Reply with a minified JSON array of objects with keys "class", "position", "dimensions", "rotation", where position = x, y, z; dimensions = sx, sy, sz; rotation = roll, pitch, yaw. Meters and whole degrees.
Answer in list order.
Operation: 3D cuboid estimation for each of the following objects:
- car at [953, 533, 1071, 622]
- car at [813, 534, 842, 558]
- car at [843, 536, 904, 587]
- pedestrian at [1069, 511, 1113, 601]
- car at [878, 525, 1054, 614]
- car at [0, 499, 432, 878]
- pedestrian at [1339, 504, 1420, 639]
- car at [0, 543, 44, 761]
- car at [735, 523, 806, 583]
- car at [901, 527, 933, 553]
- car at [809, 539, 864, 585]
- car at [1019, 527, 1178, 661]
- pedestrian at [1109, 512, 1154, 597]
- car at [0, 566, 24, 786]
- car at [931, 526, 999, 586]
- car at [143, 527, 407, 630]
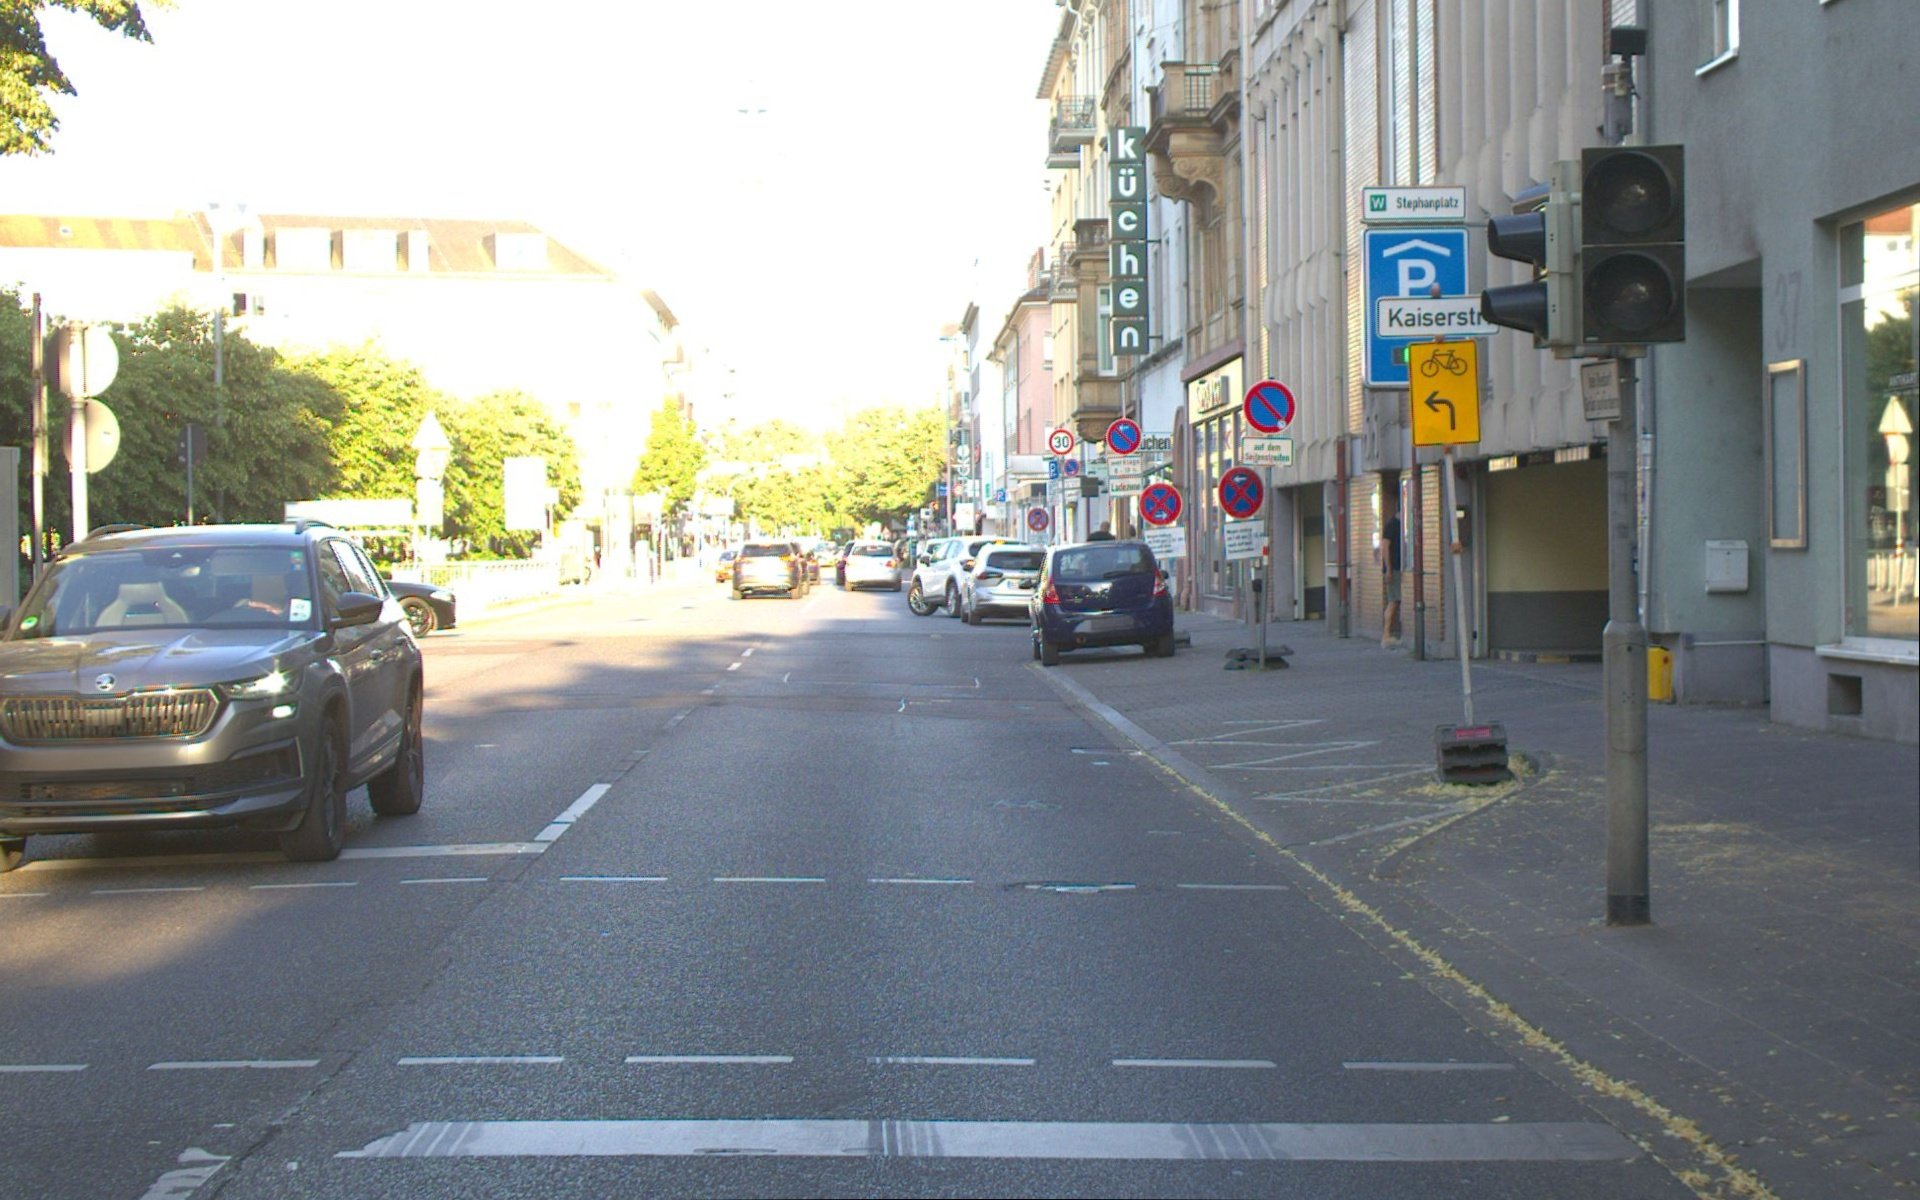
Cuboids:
[{"class":"car","position":[0.912,-0.408,62.996],"dimensions":[1.758,1.531,4.822],"rotation":[1,0,-3]},{"class":"car","position":[-8.459,-3.457,219.503],"dimensions":[1.779,1.542,4.001],"rotation":[0,1,-2]},{"class":"car","position":[-2.807,-1.259,111.082],"dimensions":[1.896,1.575,4.000],"rotation":[1,1,-2]},{"class":"pedestrian","position":[2.699,-0.914,70.836],"dimensions":[0.772,1.821,1.011],"rotation":[-2,1,-2]},{"class":"car","position":[0.081,-0.644,71.394],"dimensions":[1.993,1.755,4.467],"rotation":[-1,1,-24]},{"class":"car","position":[-3.945,0.347,17.758],"dimensions":[1.861,1.686,4.461],"rotation":[-1,1,-2]},{"class":"pedestrian","position":[5.010,-0.345,41.079],"dimensions":[0.604,1.594,0.774],"rotation":[-1,1,-31]},{"class":"car","position":[-8.804,0.348,24.482],"dimensions":[4.072,1.531,1.884],"rotation":[0,1,-1]},{"class":"car","position":[-5.294,-1.324,96.281],"dimensions":[1.896,1.644,4.105],"rotation":[0,1,-2]},{"class":"car","position":[-2.681,-3.757,215.134],"dimensions":[1.896,1.575,3.852],"rotation":[0,1,-2]},{"class":"car","position":[-4.500,-1.395,125.082],"dimensions":[1.896,1.575,3.852],"rotation":[2,1,-2]},{"class":"car","position":[1.740,-0.113,44.255],"dimensions":[1.759,1.531,4.000],"rotation":[-4,1,0]},{"class":"pedestrian","position":[3.523,-0.939,70.866],"dimensions":[0.772,1.705,1.042],"rotation":[-2,1,-2]},{"class":"car","position":[-8.395,0.477,21.578],"dimensions":[4.570,1.403,1.822],"rotation":[0,1,-3]},{"class":"car","position":[0.110,-1.240,96.645],"dimensions":[1.729,1.645,4.285],"rotation":[1,1,-2]},{"class":"car","position":[-10.966,-0.354,55.278],"dimensions":[3.986,1.575,1.903],"rotation":[1,1,-6]}]
